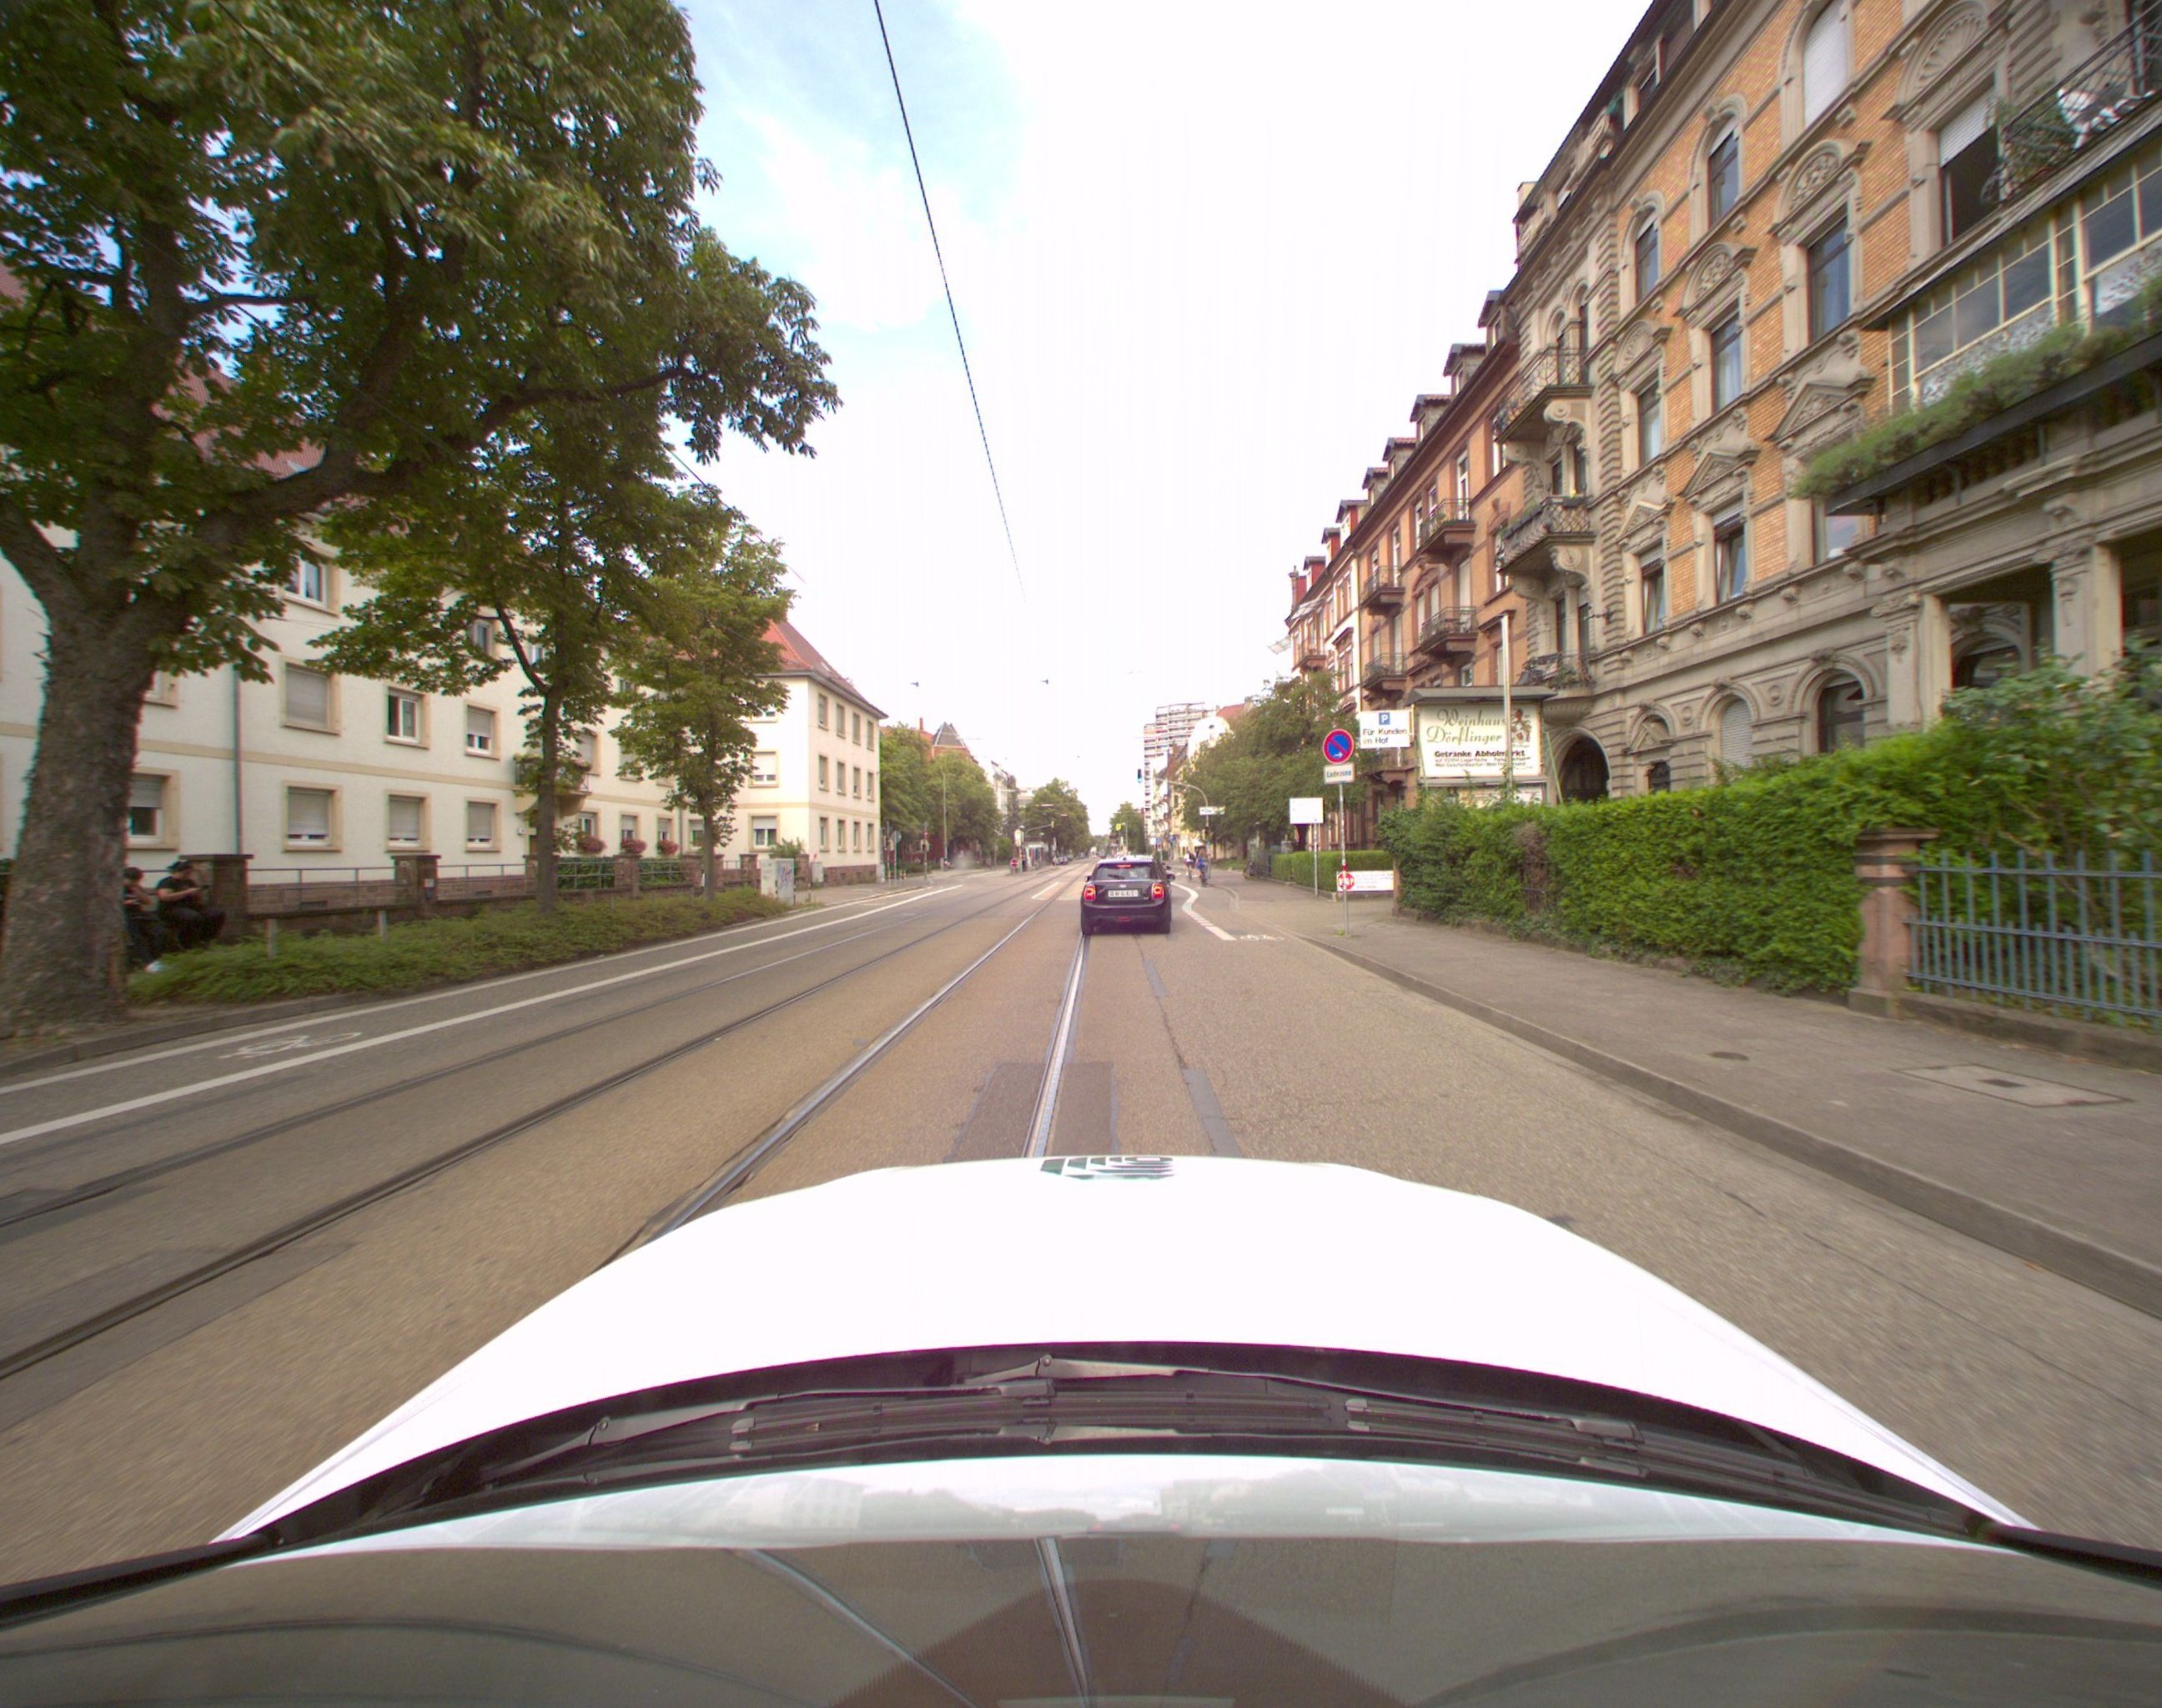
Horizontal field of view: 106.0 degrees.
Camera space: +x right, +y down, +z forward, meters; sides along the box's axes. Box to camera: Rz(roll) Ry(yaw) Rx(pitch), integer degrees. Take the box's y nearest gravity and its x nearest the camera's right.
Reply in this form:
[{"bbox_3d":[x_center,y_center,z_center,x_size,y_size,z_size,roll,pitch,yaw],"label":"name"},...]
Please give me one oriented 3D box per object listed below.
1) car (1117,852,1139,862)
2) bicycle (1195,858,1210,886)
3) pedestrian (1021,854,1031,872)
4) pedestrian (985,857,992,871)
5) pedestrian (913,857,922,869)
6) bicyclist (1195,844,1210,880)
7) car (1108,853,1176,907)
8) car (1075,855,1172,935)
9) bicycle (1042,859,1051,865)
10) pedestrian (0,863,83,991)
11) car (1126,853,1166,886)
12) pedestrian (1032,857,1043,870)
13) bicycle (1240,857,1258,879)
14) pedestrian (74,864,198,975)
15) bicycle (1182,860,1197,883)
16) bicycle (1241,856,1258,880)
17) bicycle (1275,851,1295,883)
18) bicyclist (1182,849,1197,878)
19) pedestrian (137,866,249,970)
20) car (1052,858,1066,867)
[{"bbox_3d":[11.311,0.819,197.442,5.064,2.272,2.369,-1,0,-39],"label":"car"},{"bbox_3d":[5.348,0.779,35.890,0.595,1.170,1.700,-1,0,7],"label":"bicycle"},{"bbox_3d":[-5.081,0.818,74.912,0.850,1.621,0.842,-1,-1,-4],"label":"pedestrian"},{"bbox_3d":[-11.751,1.261,103.654,0.691,1.719,0.759,-1,0,3],"label":"pedestrian"},{"bbox_3d":[-20.788,1.140,103.342,0.839,1.464,0.724,-1,0,-39],"label":"pedestrian"},{"bbox_3d":[5.346,0.347,35.928,0.591,1.550,1.016,-1,0,7],"label":"bicyclist"},{"bbox_3d":[1.897,0.742,25.395,1.918,1.510,4.005,-1,0,4],"label":"car"},{"bbox_3d":[0.971,0.753,16.948,1.743,1.441,4.006,-1,0,5],"label":"car"},{"bbox_3d":[-6.209,1.426,146.039,1.680,1.119,0.566,-1,0,-38],"label":"bicycle"},{"bbox_3d":[-13.206,0.886,10.053,0.831,1.512,0.732,-1,0,-4],"label":"pedestrian"},{"bbox_3d":[3.020,0.685,37.916,1.744,1.441,4.485,-1,0,4],"label":"car"},{"bbox_3d":[-4.427,1.002,82.903,1.056,1.294,0.985,-1,-1,-4],"label":"pedestrian"},{"bbox_3d":[8.812,0.706,42.766,0.668,1.106,1.673,-1,0,2],"label":"bicycle"},{"bbox_3d":[-13.161,0.893,11.369,0.831,1.464,0.732,-1,0,-4],"label":"pedestrian"},{"bbox_3d":[5.958,0.956,44.605,0.681,1.170,1.698,-1,0,4],"label":"bicycle"},{"bbox_3d":[8.290,0.682,40.055,0.506,1.088,1.551,-4,0,2],"label":"bicycle"},{"bbox_3d":[8.438,0.532,33.721,0.513,1.282,1.552,-1,0,4],"label":"bicycle"},{"bbox_3d":[5.947,0.518,44.657,0.681,1.564,0.999,-1,0,4],"label":"bicyclist"},{"bbox_3d":[-13.223,0.929,12.153,0.831,1.464,0.732,-1,0,-4],"label":"pedestrian"},{"bbox_3d":[-3.423,1.318,127.843,1.744,1.441,4.004,1,0,4],"label":"car"}]
